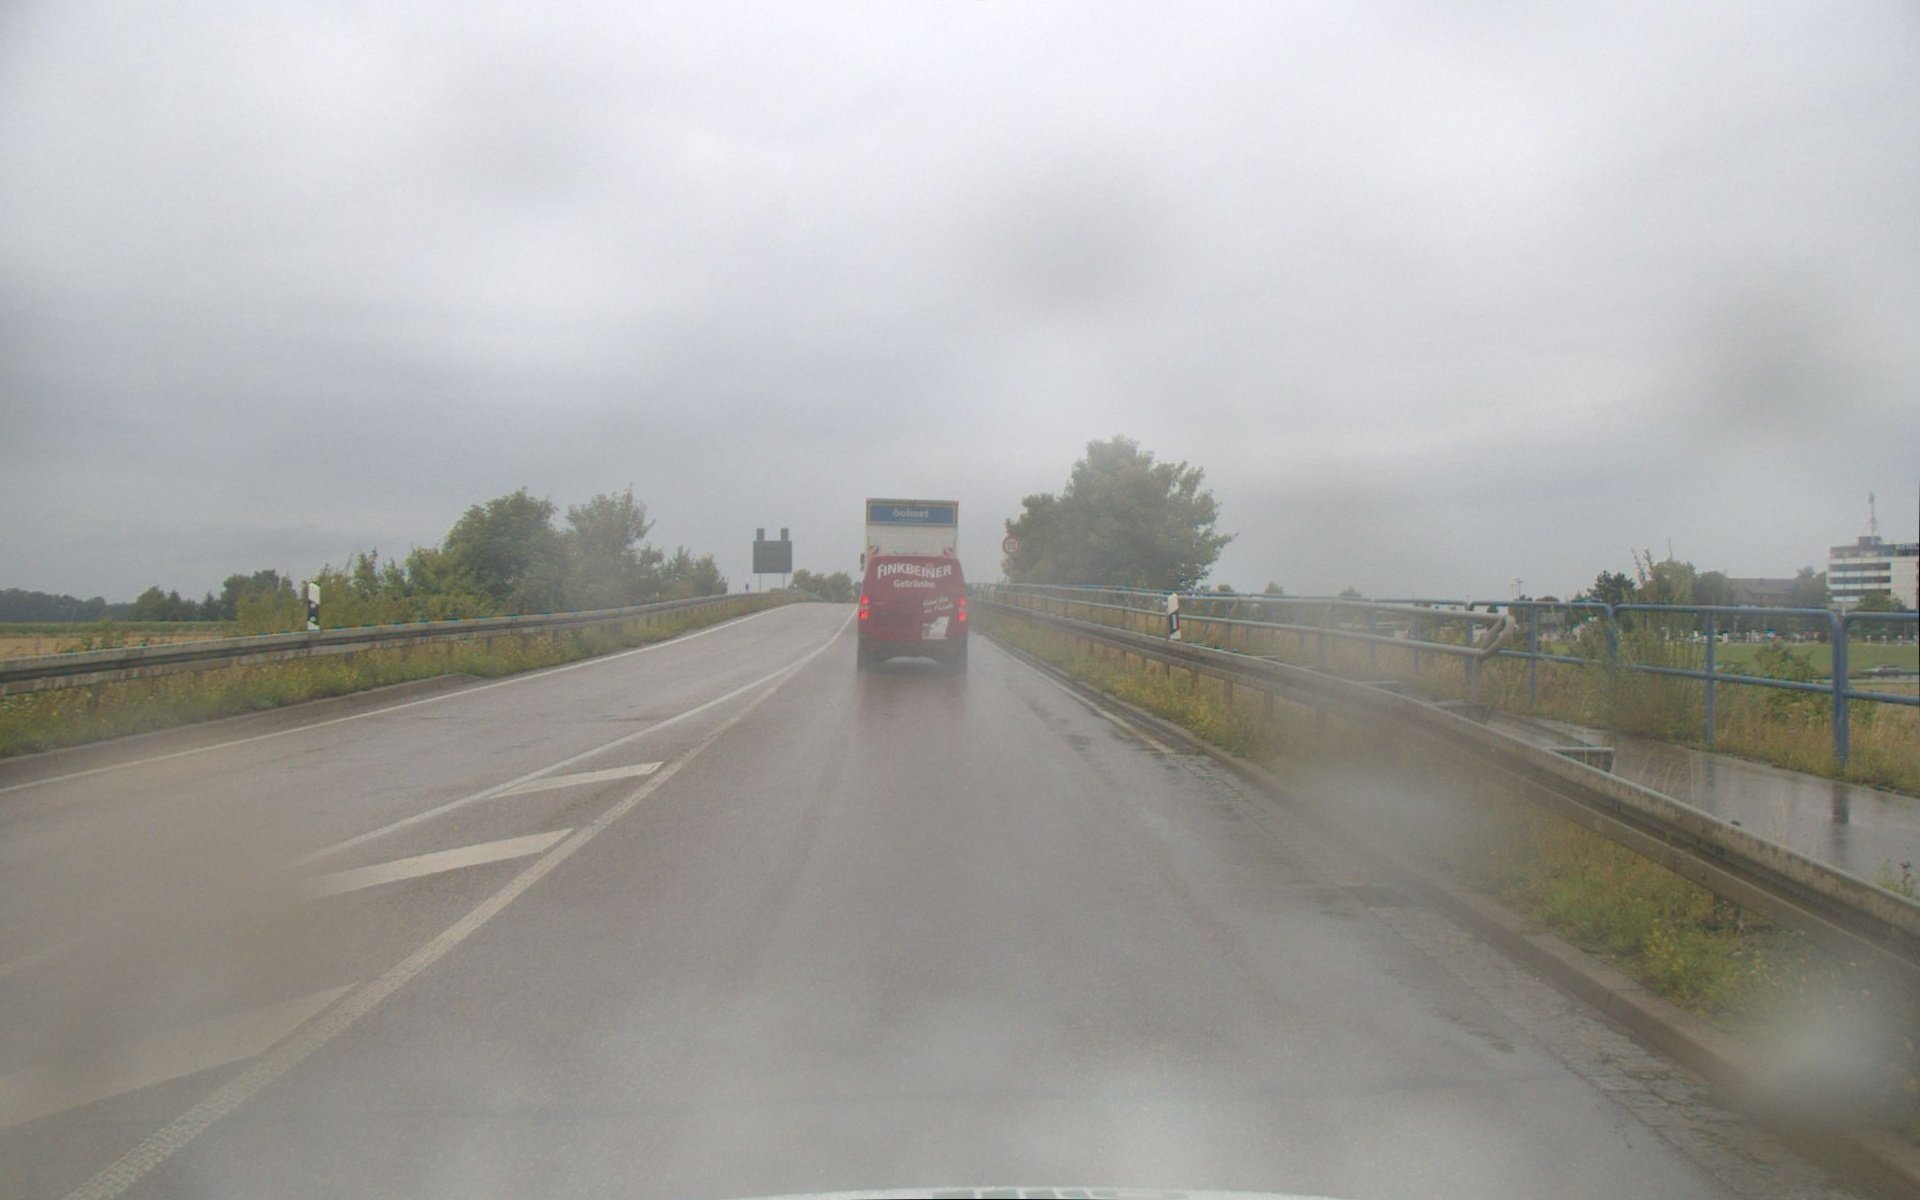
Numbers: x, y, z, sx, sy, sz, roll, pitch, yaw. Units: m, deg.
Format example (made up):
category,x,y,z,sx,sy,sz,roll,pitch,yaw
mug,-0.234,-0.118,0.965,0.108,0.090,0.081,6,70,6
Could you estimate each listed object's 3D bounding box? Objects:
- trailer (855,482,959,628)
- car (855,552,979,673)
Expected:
category,x,y,z,sx,sy,sz,roll,pitch,yaw
trailer,-1.521,-1.208,49.191,2.774,3.886,9.712,0,0,-1
car,-0.747,0.177,28.742,1.953,1.903,4.977,-1,0,-2
